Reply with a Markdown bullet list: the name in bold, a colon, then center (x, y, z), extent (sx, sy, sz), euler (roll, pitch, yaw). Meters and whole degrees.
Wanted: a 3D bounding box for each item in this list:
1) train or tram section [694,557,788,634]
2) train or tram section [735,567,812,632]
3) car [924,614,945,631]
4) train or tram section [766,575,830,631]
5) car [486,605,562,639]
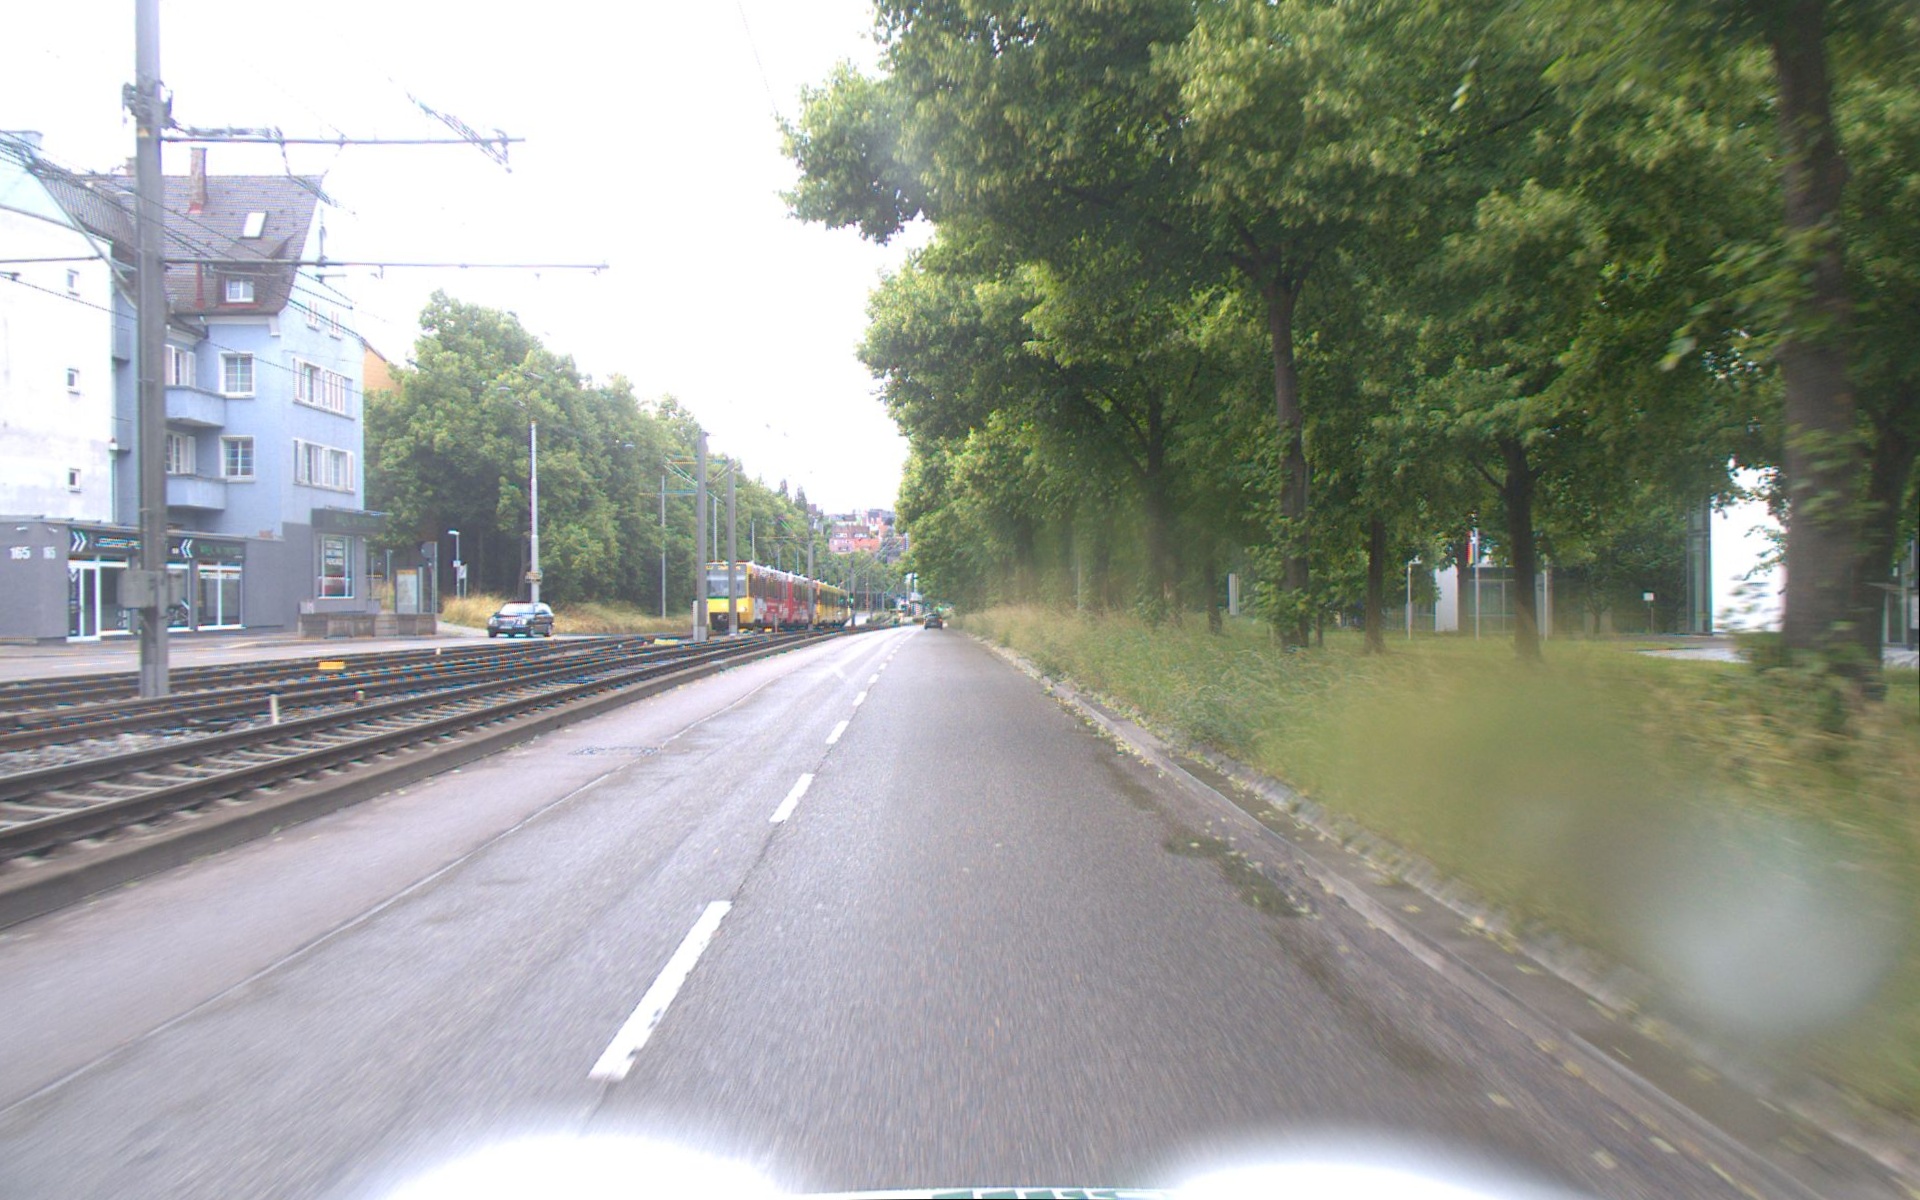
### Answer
- **train or tram section**: center (-11.831, -0.115, 90.877), extent (3.148, 3.863, 14.788), euler (0, -1, 0)
- **train or tram section**: center (-11.748, 0.059, 105.704), extent (3.148, 3.863, 14.788), euler (0, -1, 0)
- **car**: center (-2.357, 2.079, 152.487), extent (1.942, 1.466, 4.473), euler (0, 0, -1)
- **train or tram section**: center (-11.657, 0.303, 120.543), extent (3.148, 3.863, 14.788), euler (0, -1, 0)
- **car**: center (-18.026, 0.912, 68.642), extent (1.863, 1.348, 4.825), euler (0, -1, 0)
